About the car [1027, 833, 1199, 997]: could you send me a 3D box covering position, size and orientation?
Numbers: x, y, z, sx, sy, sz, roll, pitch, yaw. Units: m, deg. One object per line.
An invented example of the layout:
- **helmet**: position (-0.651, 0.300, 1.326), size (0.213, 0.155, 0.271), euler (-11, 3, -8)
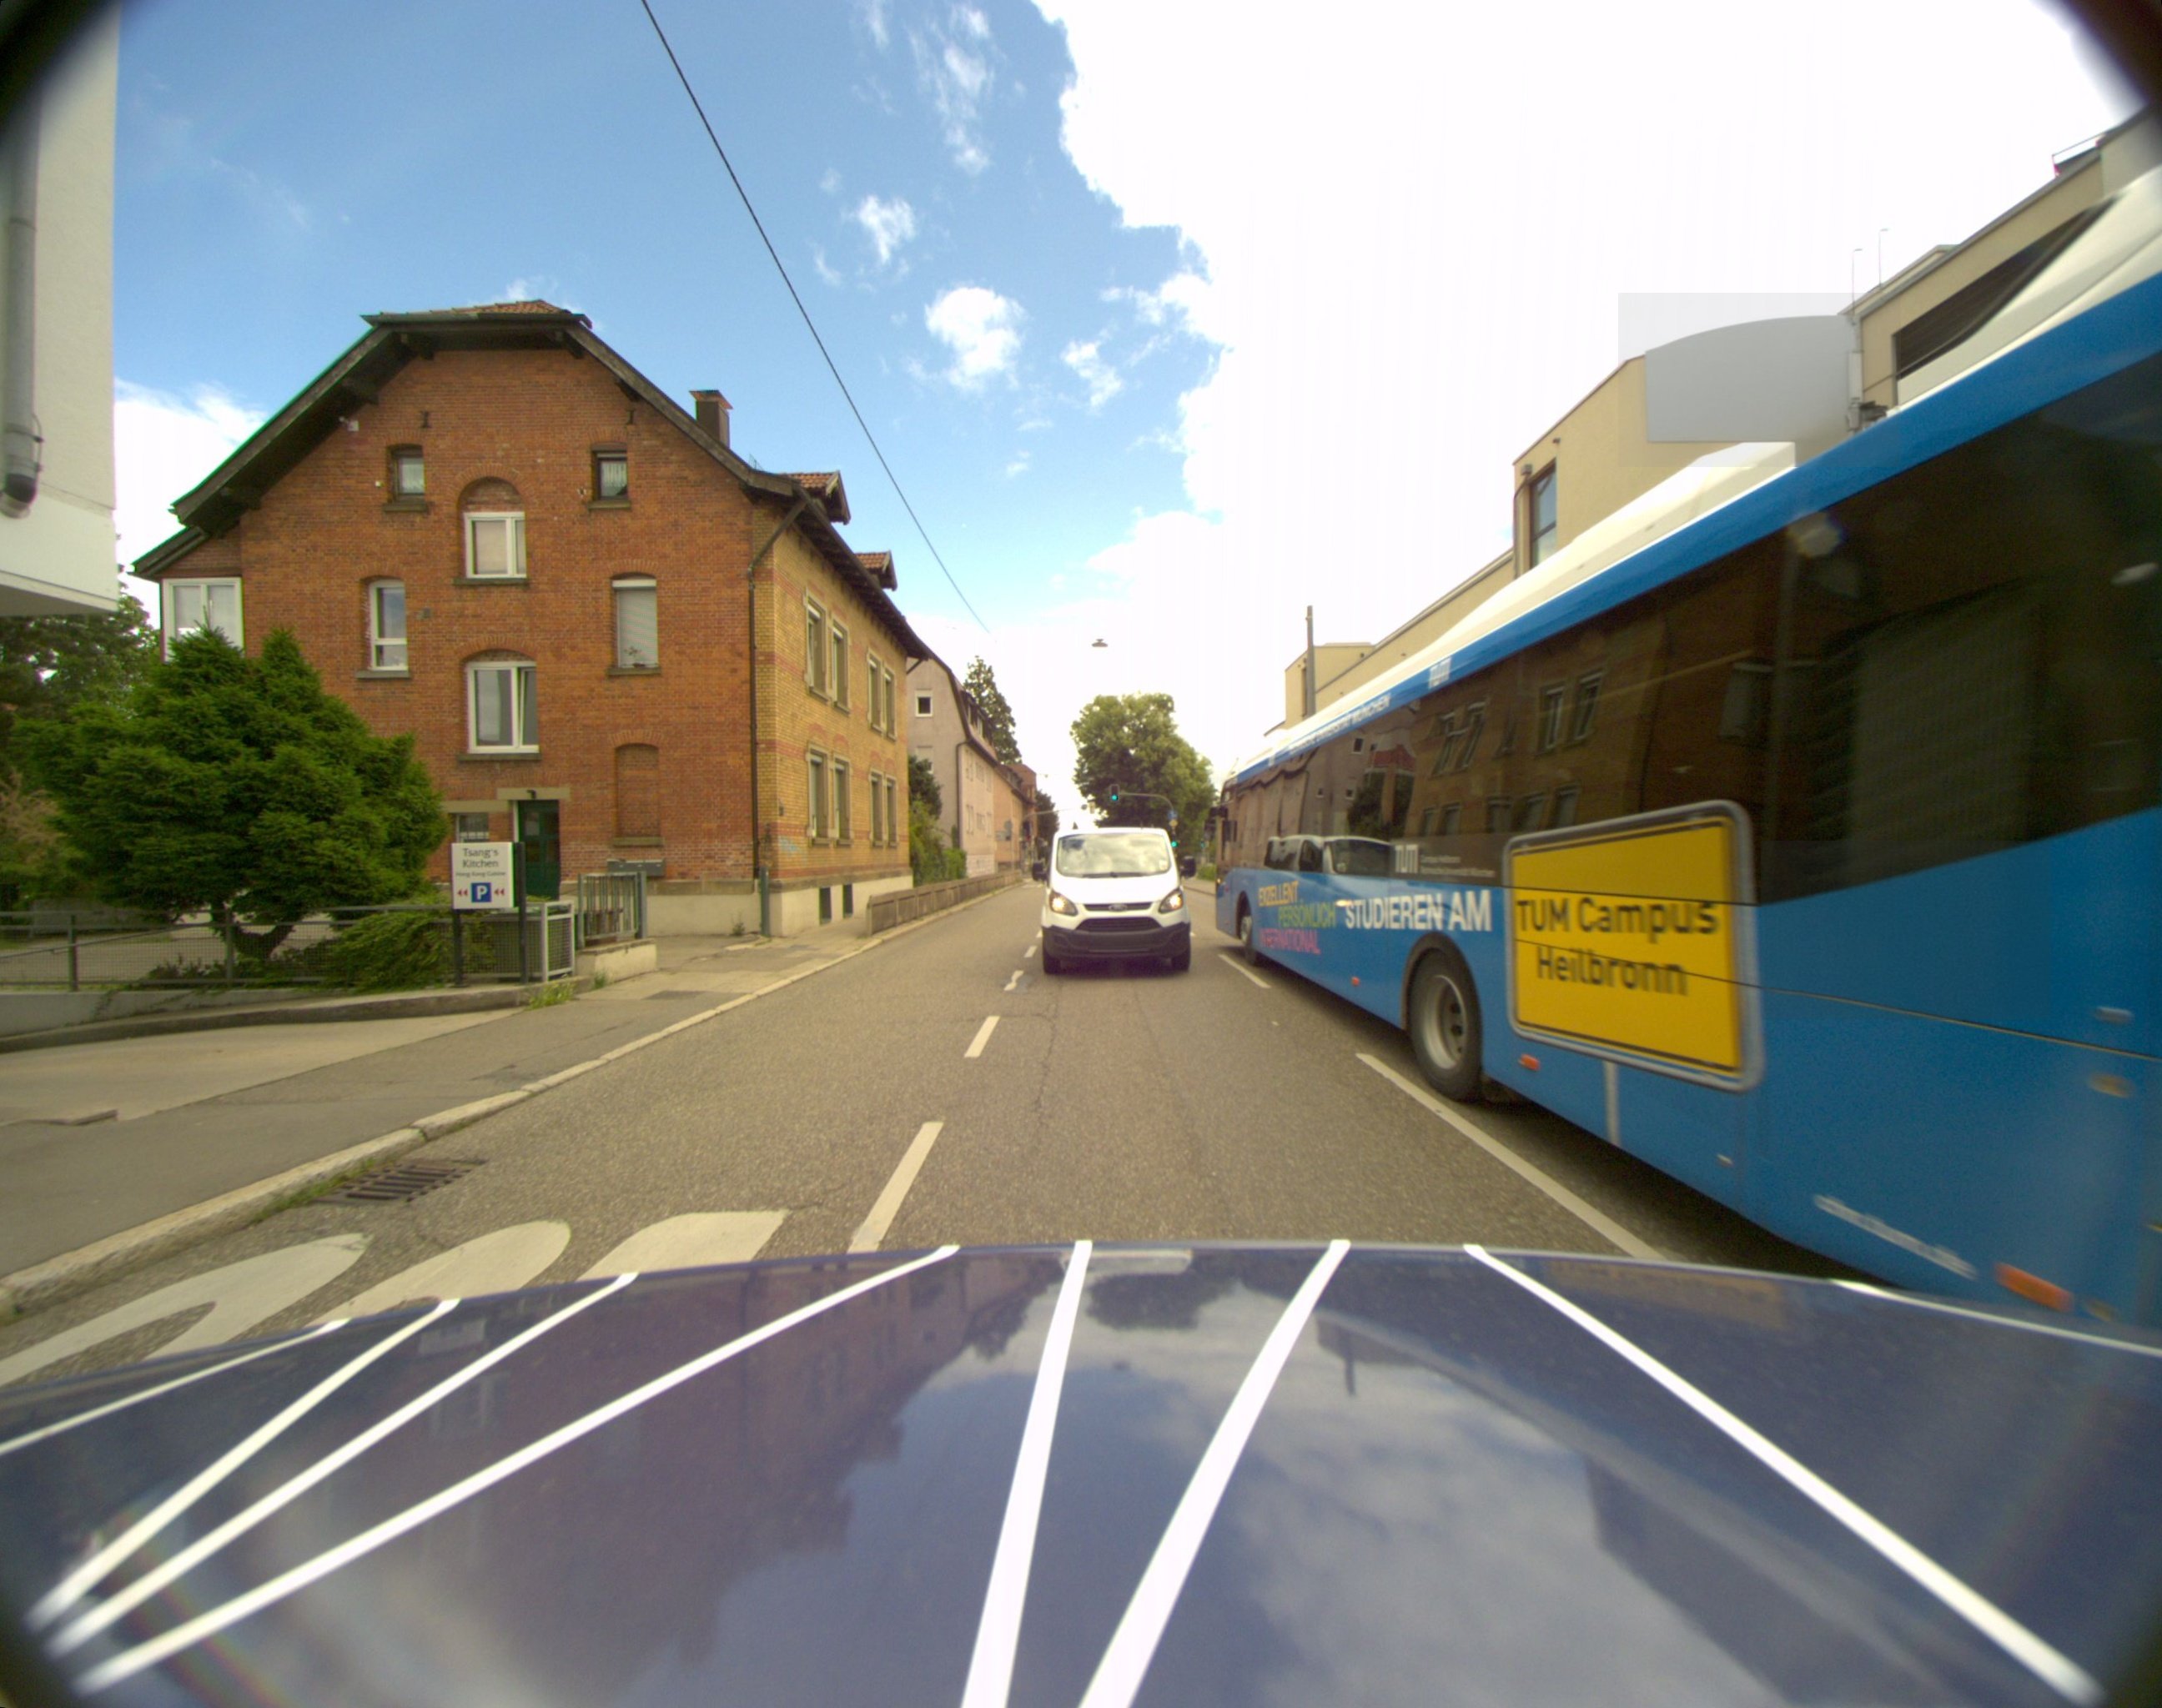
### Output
- **car**: position (0.388, 0.732, 11.724), size (2.062, 1.945, 5.060), euler (-1, 0, 0)

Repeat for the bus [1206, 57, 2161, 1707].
- **bus**: position (3.625, 0.068, 7.127), size (2.950, 3.255, 12.007), euler (0, 0, 0)

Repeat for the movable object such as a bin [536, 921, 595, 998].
- **movable object such as a bin**: position (-6.429, 1.308, 9.492), size (0.398, 0.898, 0.456), euler (-1, 1, 1)

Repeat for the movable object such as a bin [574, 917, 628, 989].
- **movable object such as a bin**: position (-6.369, 1.303, 10.099), size (0.398, 0.898, 0.456), euler (-1, 1, 1)
